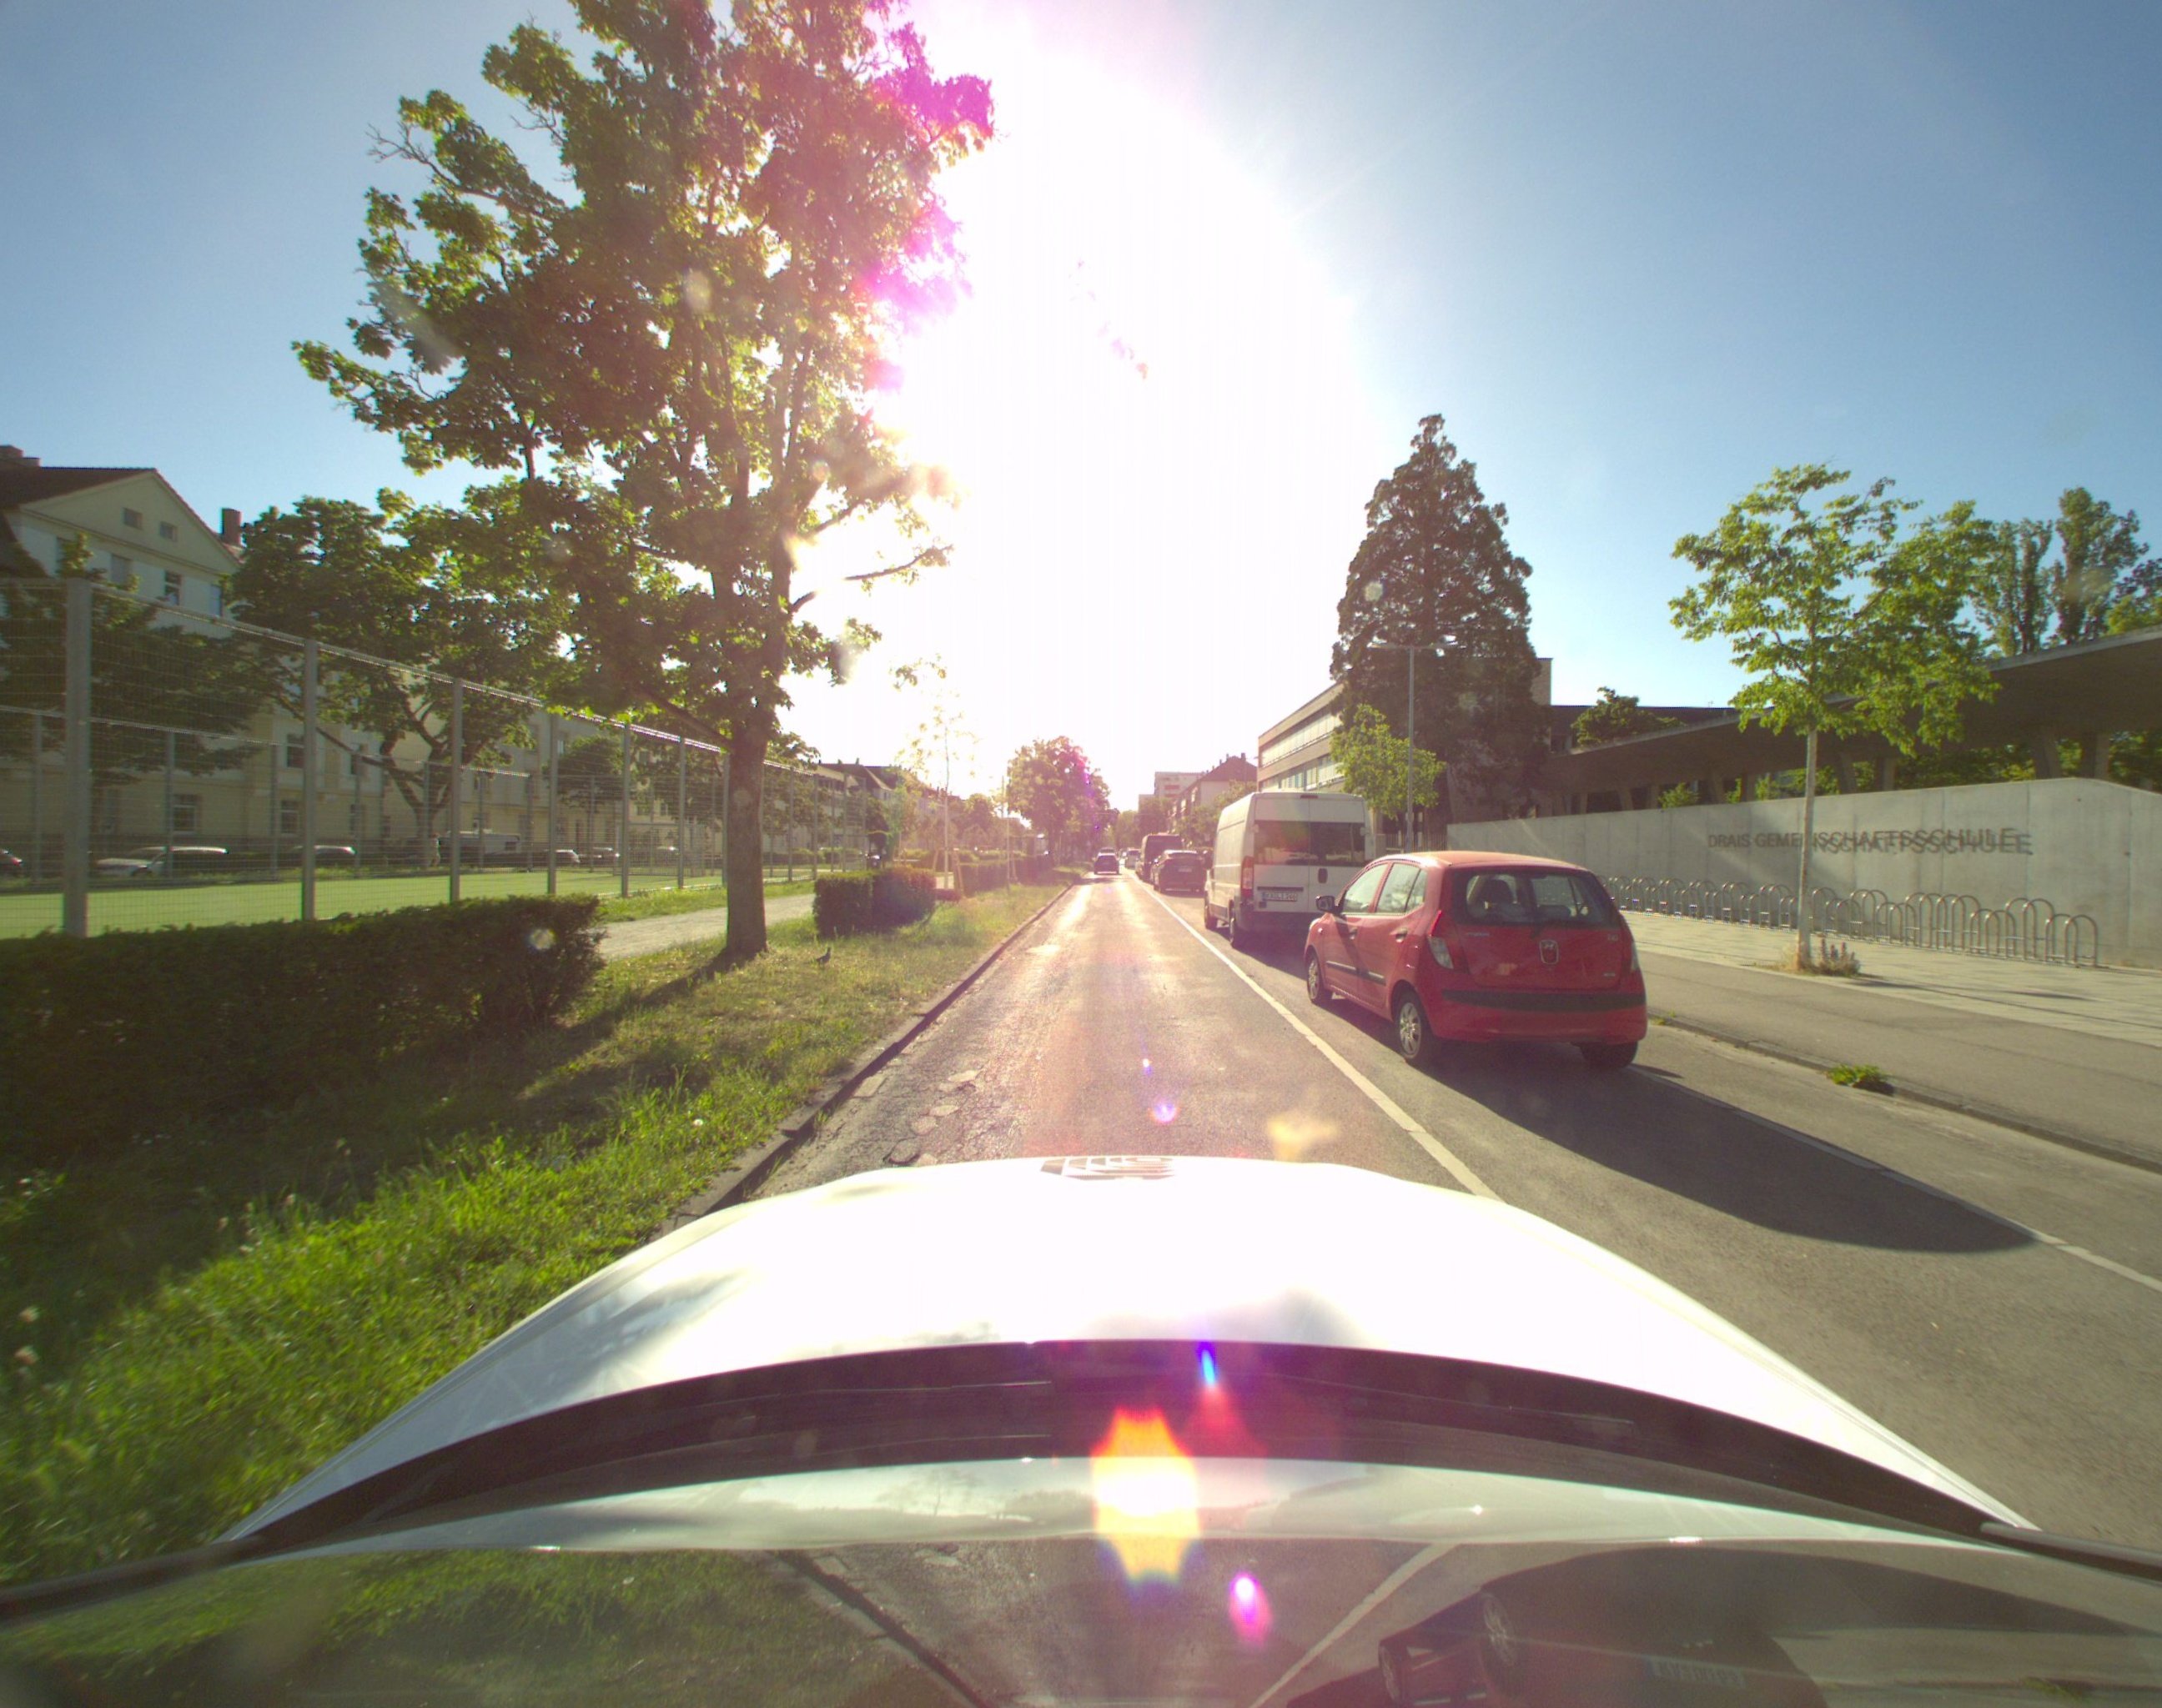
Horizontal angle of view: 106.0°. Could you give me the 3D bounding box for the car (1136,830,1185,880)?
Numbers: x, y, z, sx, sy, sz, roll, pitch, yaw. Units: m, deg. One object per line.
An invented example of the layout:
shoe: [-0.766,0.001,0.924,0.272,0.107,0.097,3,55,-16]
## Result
car: [4.277,0.038,44.692,2.108,2.515,6.532,0,0,0]

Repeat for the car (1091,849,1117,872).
car: [1.659,0.428,57.980,1.787,1.510,4.002,1,0,2]

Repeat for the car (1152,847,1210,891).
car: [3.903,0.554,32.453,1.839,1.640,4.505,0,0,1]

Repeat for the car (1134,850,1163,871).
car: [4.789,0.432,58.212,1.788,1.420,4.659,0,0,1]

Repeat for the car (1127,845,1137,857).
car: [11.067,-0.691,176.507,1.986,2.430,4.503,2,0,2]

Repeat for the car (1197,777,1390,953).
car: [3.545,0.144,14.836,2.232,2.574,5.435,1,0,2]

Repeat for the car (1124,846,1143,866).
car: [5.039,0.197,78.186,1.786,1.855,4.418,1,0,4]

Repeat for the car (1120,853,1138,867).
car: [4.986,0.622,84.822,1.758,1.319,4.170,1,0,2]

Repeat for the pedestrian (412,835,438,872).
pedestrian: [-29.760,-0.002,36.950,0.645,1.661,0.650,0,0,2]

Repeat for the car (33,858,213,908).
car: [-38.242,1.091,32.710,1.787,1.777,4.491,1,0,2]

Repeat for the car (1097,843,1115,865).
car: [2.561,0.000,82.455,1.787,2.122,4.002,1,0,2]

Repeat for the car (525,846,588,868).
car: [-37.997,0.167,59.127,1.787,1.510,4.002,1,0,2]

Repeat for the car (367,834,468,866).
car: [-33.769,-0.198,41.591,1.787,1.510,4.002,1,0,2]

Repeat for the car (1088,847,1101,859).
car: [1.918,-0.196,115.522,1.787,1.624,4.002,1,0,2]

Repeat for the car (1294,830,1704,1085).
car: [3.099,0.635,6.912,1.614,1.588,3.591,1,1,0]

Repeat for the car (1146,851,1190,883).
car: [4.089,0.571,38.837,1.788,1.455,3.951,0,0,1]

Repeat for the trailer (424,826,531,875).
trailer: [-38.057,-0.223,51.593,2.335,2.870,5.804,1,0,1]
